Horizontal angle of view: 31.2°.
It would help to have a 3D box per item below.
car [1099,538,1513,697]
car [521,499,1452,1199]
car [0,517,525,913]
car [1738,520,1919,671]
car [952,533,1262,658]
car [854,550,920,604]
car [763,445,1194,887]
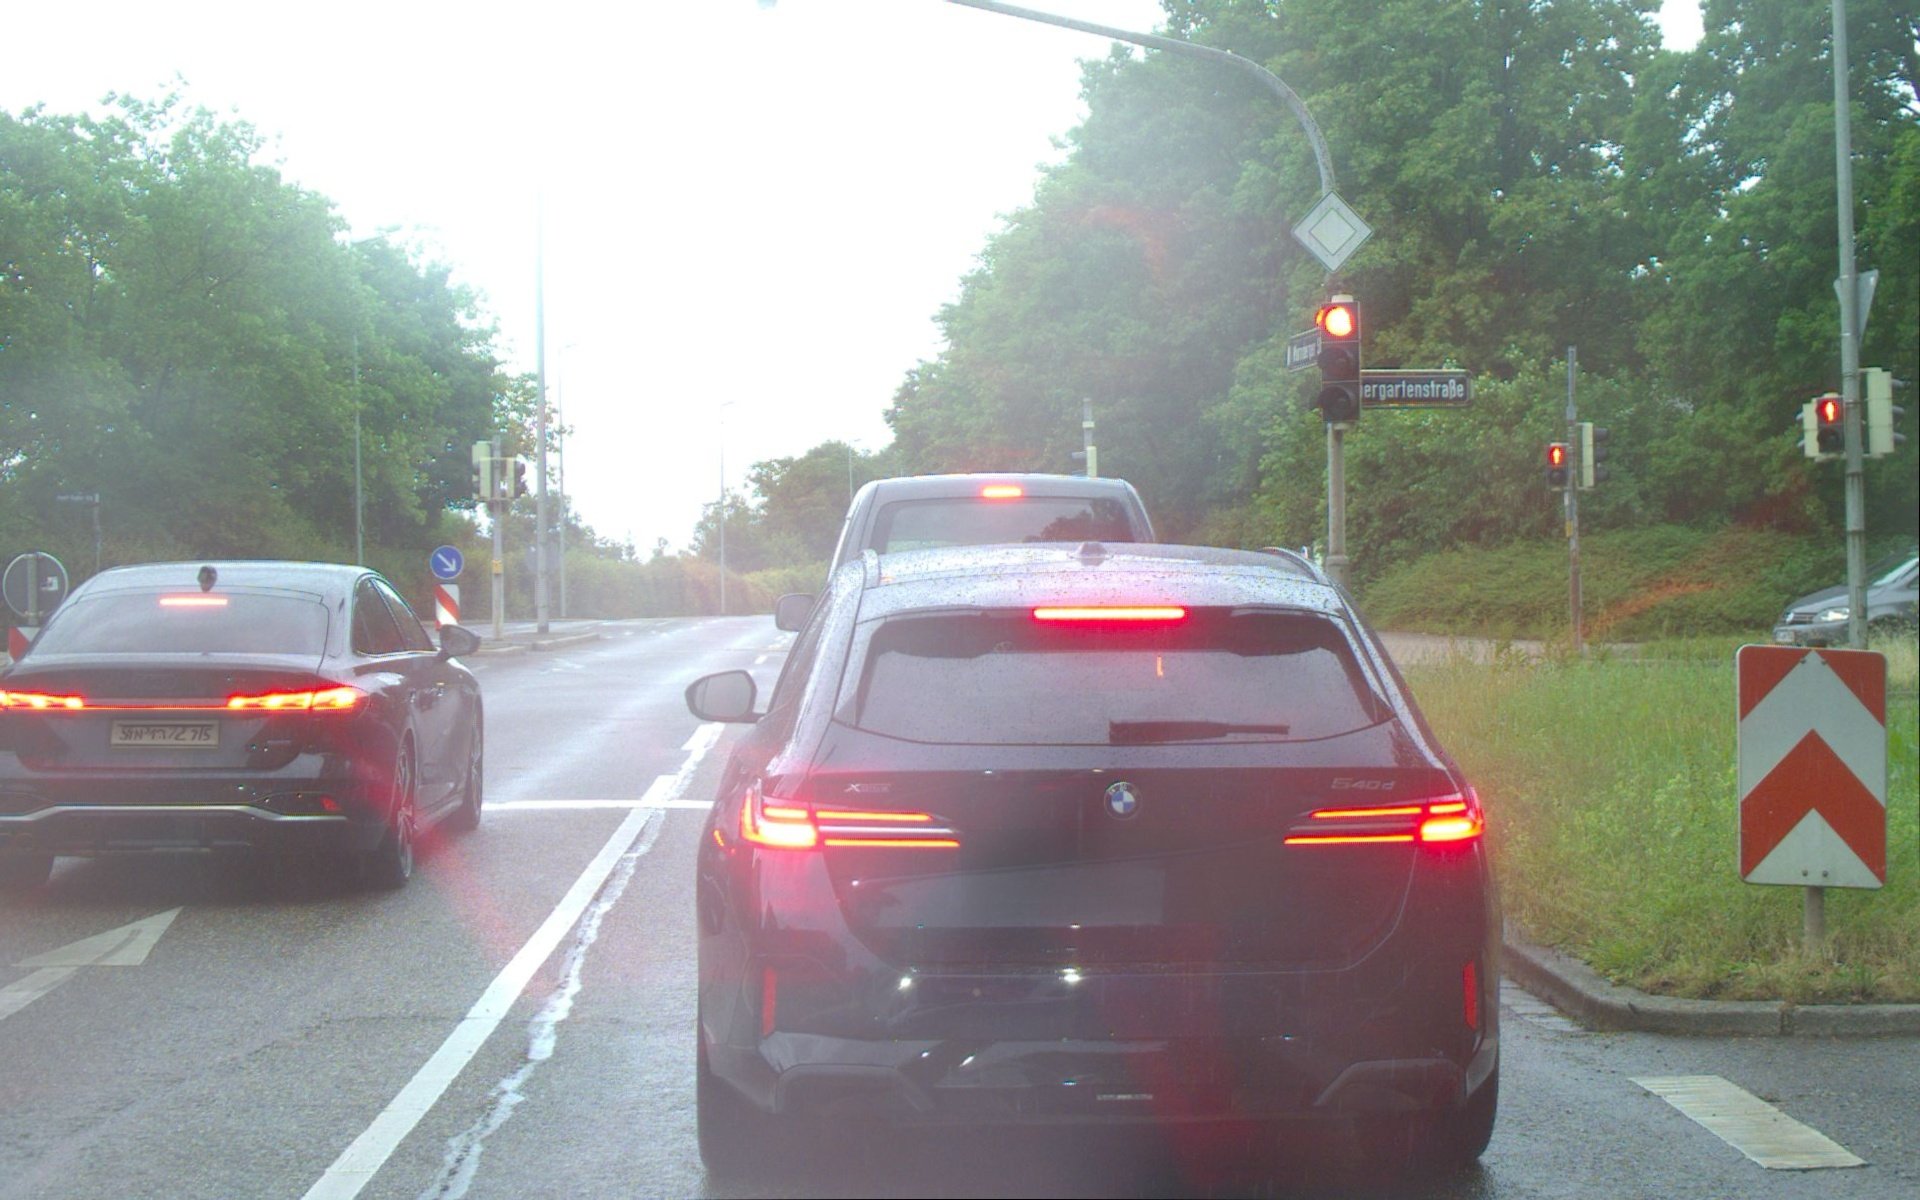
[{"bbox_3d":[3.669,0.167,36.821,3.986,1.504,1.902,-2,1,-11],"label":"car"},{"bbox_3d":[0.086,0.565,9.476,1.898,1.546,4.615,-2,1,1],"label":"car"},{"bbox_3d":[-3.312,0.451,15.932,1.993,1.522,4.328,-2,0,0],"label":"car"},{"bbox_3d":[11.089,-0.109,38.938,4.017,1.596,1.749,-2,1,-10],"label":"car"},{"bbox_3d":[1.859,-0.063,43.344,3.506,1.422,1.701,-2,1,21],"label":"car"},{"bbox_3d":[-2.324,-0.750,110.272,1.993,1.618,3.952,-2,0,0],"label":"car"},{"bbox_3d":[0.073,0.263,16.506,1.818,1.862,3.952,0,0,0],"label":"car"}]
